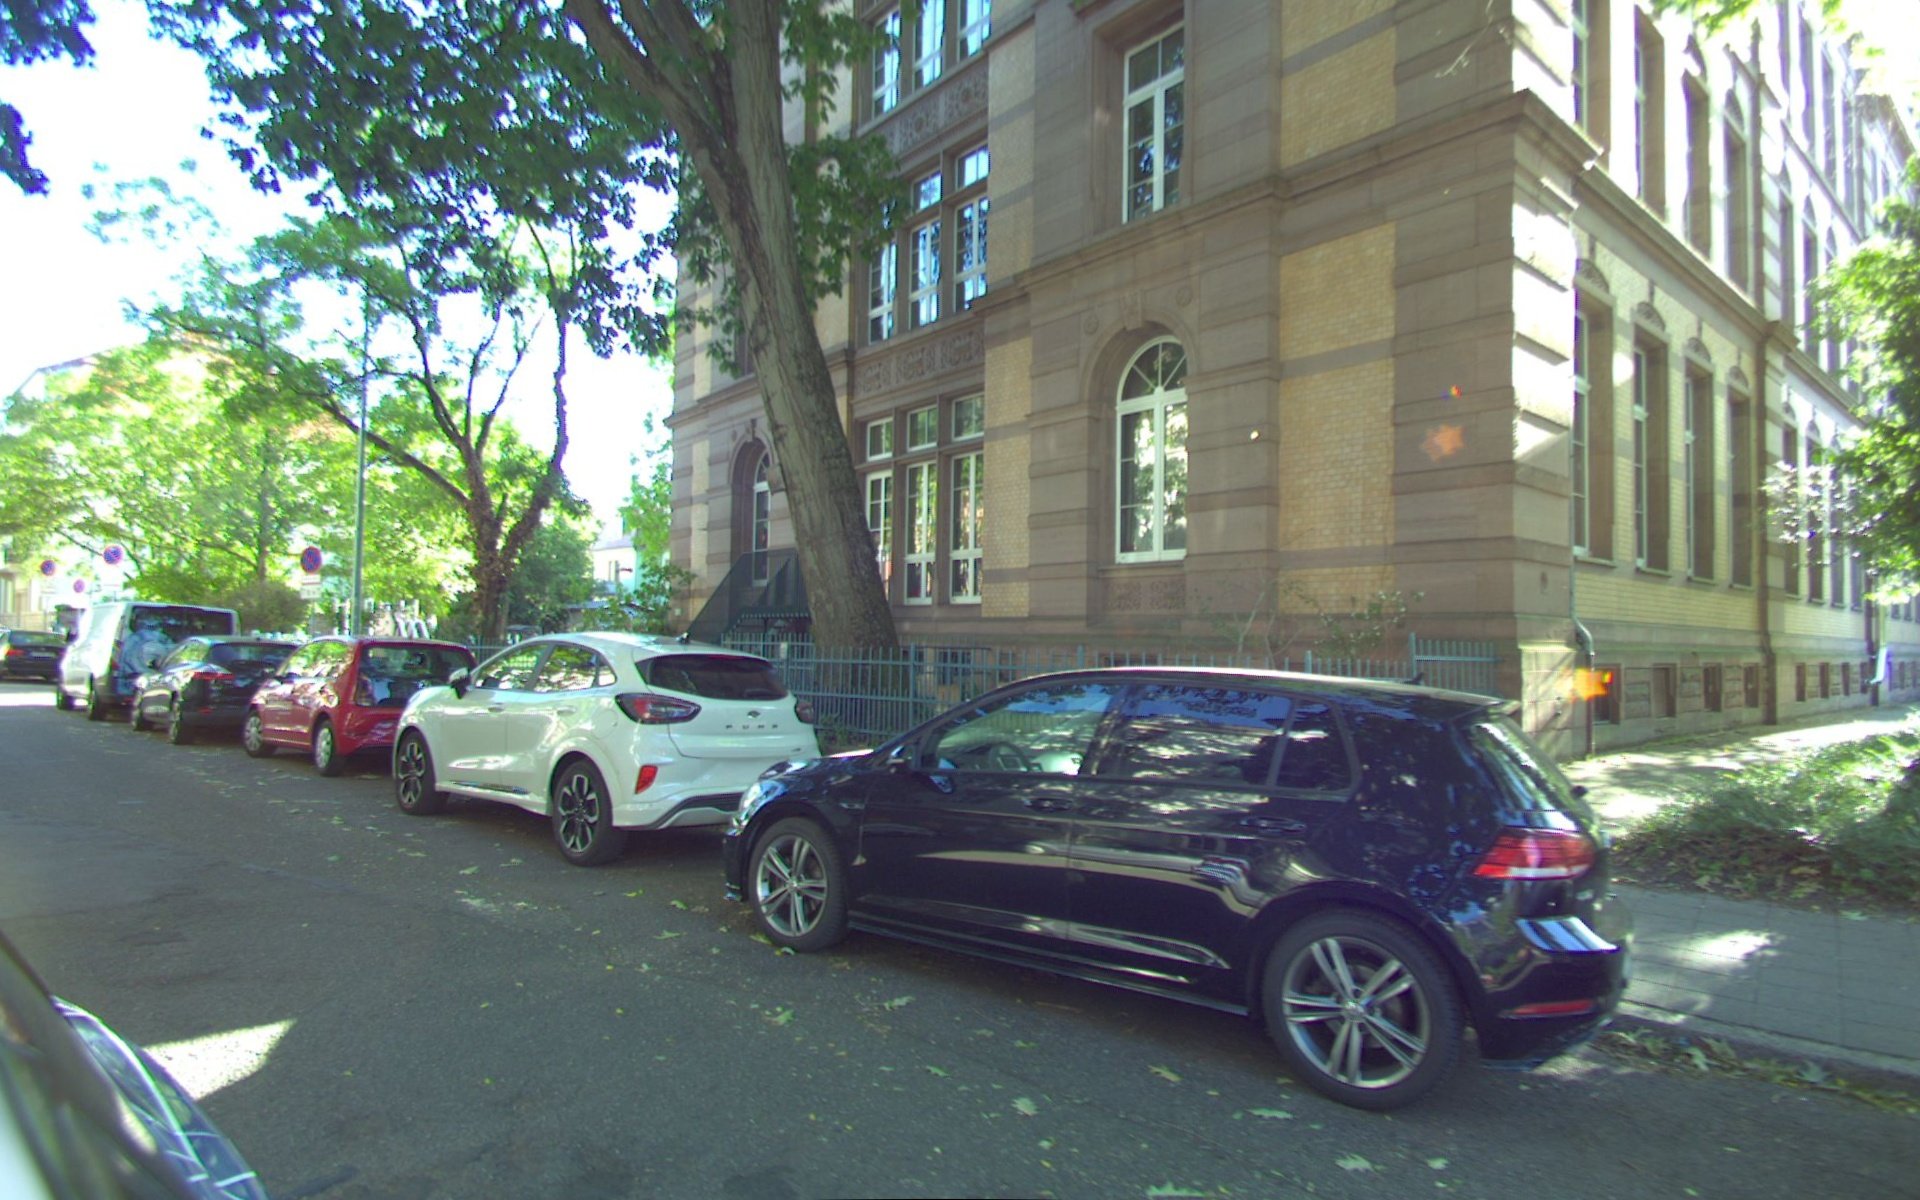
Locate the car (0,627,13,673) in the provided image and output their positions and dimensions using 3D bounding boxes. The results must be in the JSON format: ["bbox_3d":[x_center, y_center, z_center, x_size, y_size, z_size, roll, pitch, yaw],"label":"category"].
[{"bbox_3d":[-35.365,1.714,36.077,4.466,1.603,1.762,-1,-5,41],"label":"car"}]

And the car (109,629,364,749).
[{"bbox_3d":[-10.712,1.220,14.852,4.604,1.468,1.980,-1,-5,41],"label":"car"}]

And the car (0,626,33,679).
[{"bbox_3d":[-30.737,1.616,31.948,4.150,1.584,1.658,-1,-6,42],"label":"car"}]

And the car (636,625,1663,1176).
[{"bbox_3d":[0.622,0.942,4.820,4.454,1.486,1.731,-1,-7,36],"label":"car"}]

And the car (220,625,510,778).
[{"bbox_3d":[-6.970,1.080,11.691,4.025,1.471,1.585,-1,-6,41],"label":"car"}]

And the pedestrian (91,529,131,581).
[{"bbox_3d":[-26.905,-1.406,32.062,0.529,1.589,0.872,-1,-2,42],"label":"pedestrian"}]

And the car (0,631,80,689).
[{"bbox_3d":[-25.930,1.598,27.882,4.776,1.406,1.696,-1,-7,40],"label":"car"}]

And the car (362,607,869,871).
[{"bbox_3d":[-2.877,0.940,8.062,4.129,1.566,1.807,-1,-7,39],"label":"car"}]

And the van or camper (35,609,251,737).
[{"bbox_3d":[-14.945,1.259,18.388,5.457,1.995,1.902,-1,-6,40],"label":"van or camper"}]
